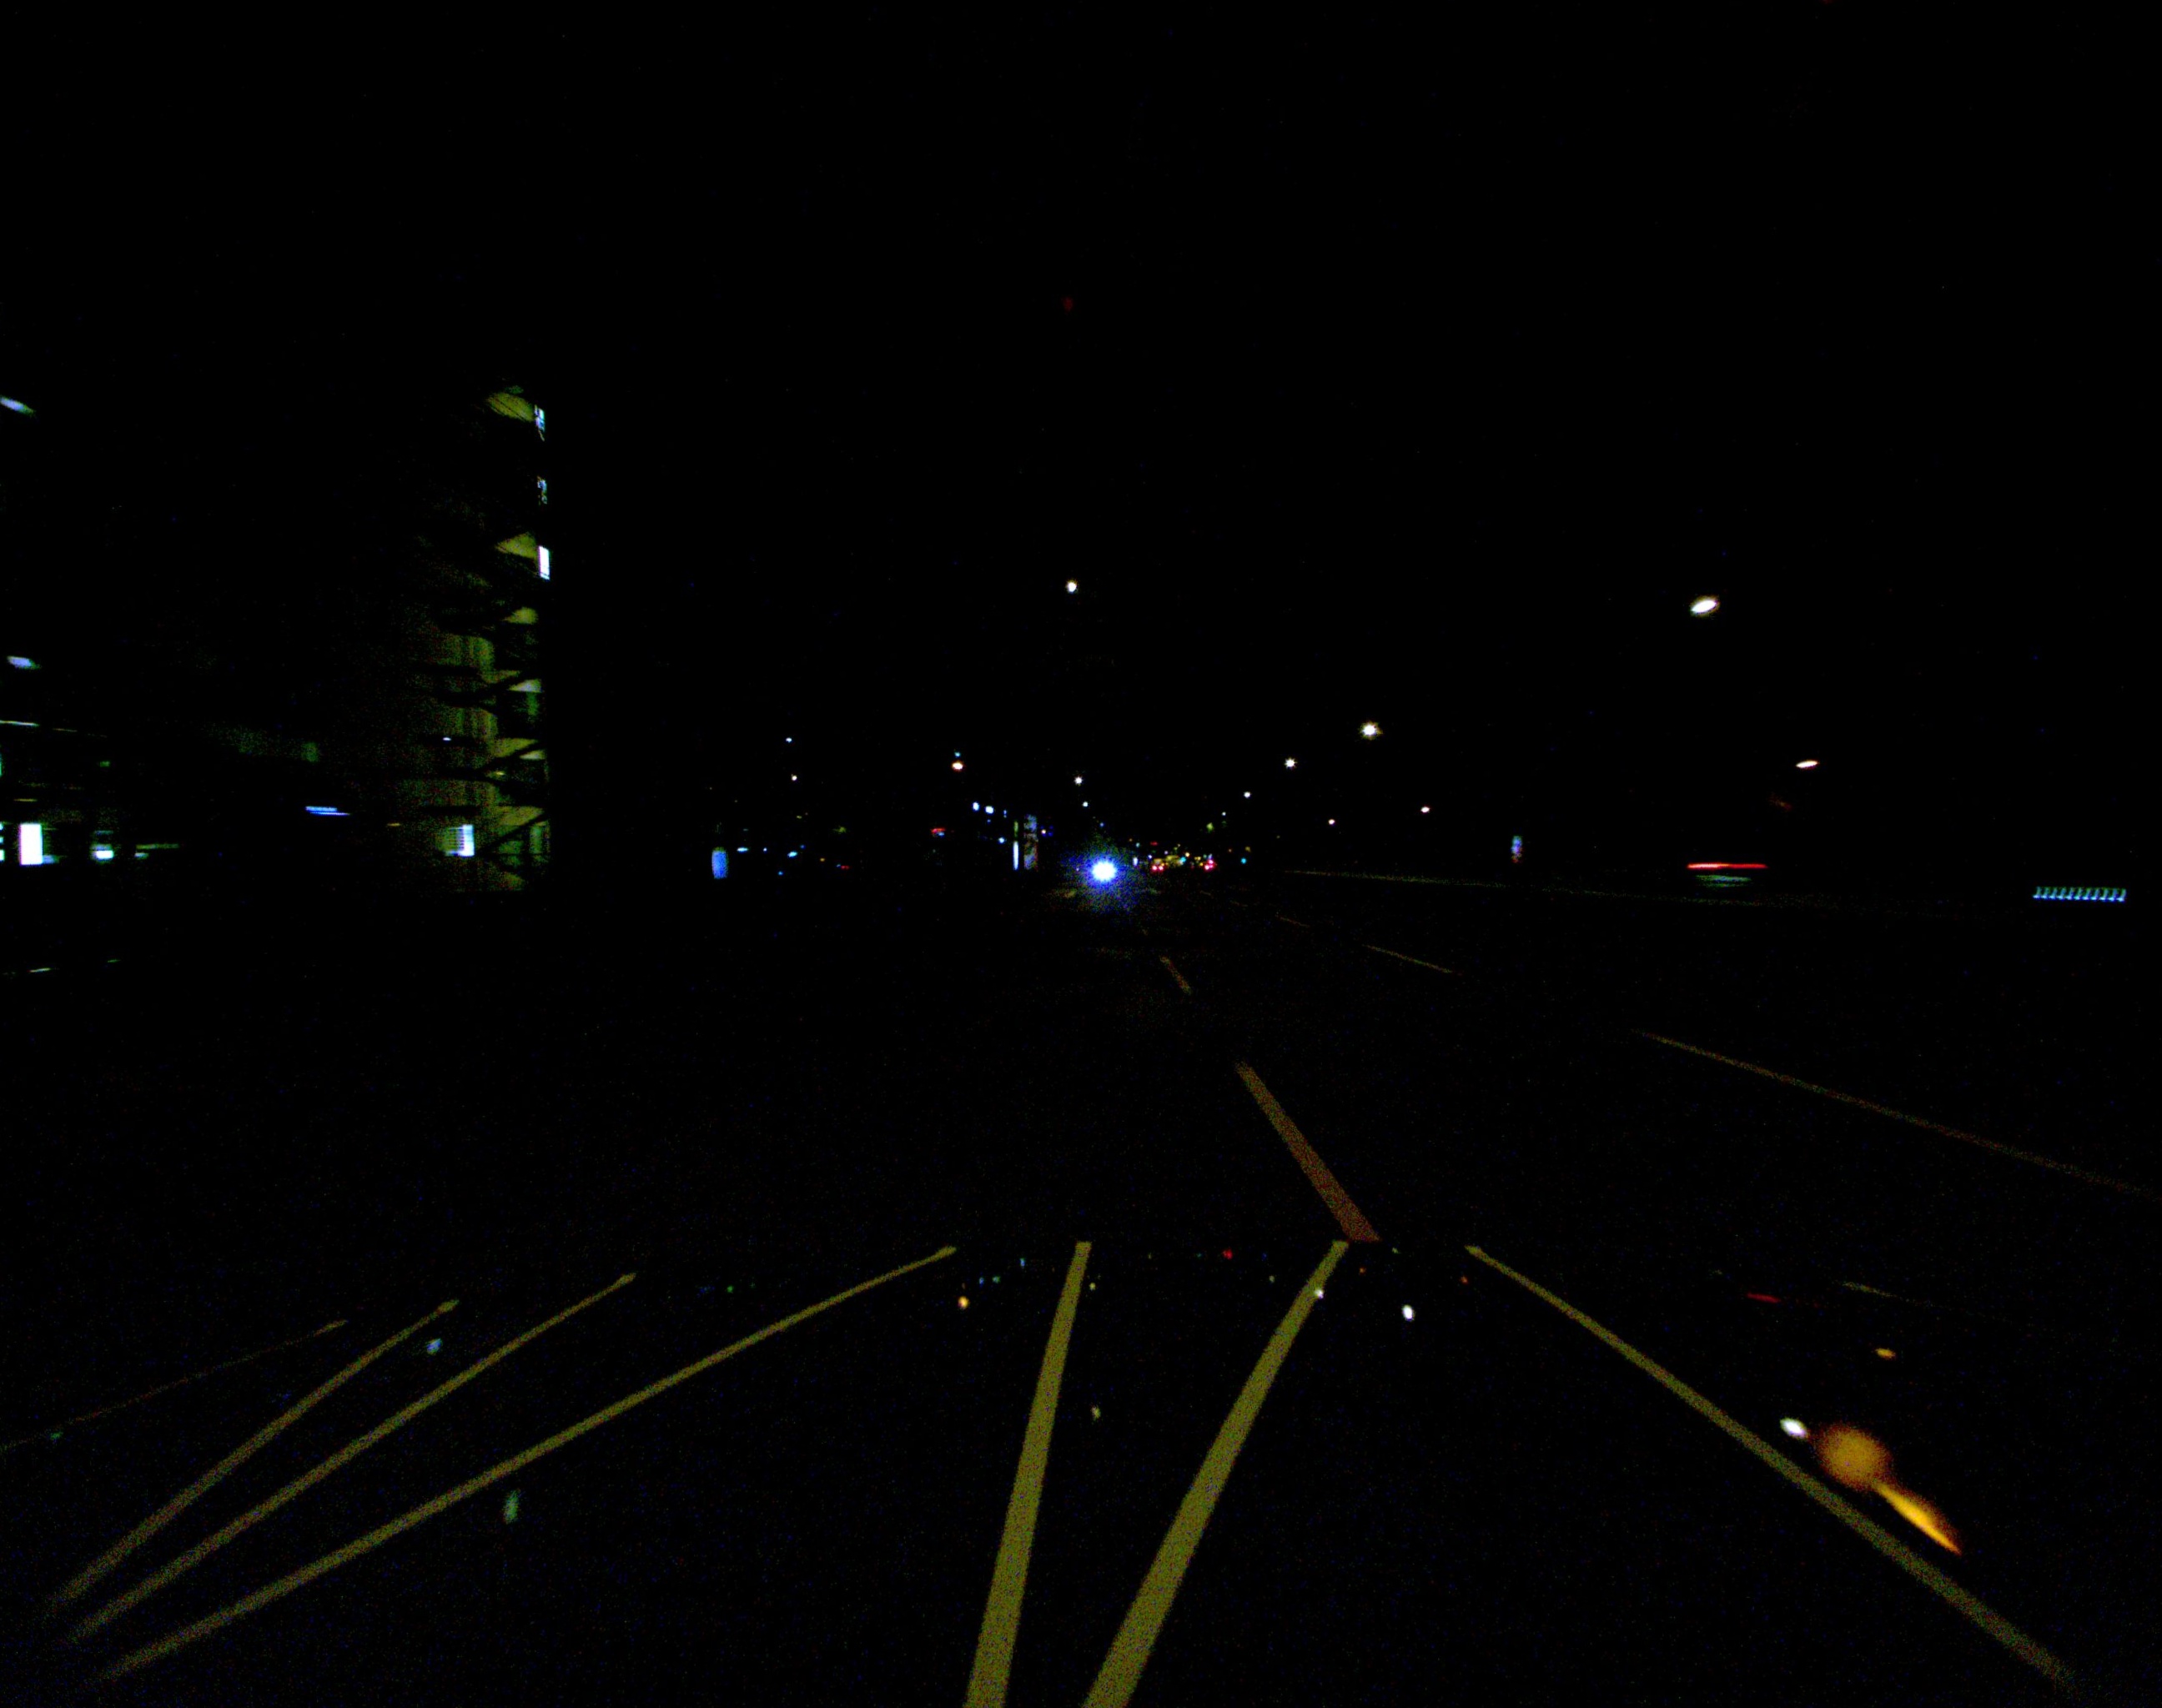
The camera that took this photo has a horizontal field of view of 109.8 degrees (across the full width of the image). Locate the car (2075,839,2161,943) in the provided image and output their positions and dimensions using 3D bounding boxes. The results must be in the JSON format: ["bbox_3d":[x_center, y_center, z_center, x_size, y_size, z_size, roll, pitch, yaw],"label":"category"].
[{"bbox_3d":[16.809,0.550,10.089,1.809,1.490,4.083,-1,1,-2],"label":"car"}]

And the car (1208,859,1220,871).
[{"bbox_3d":[24.573,1.990,140.238,2.059,2.002,4.002,-2,1,9],"label":"car"}]

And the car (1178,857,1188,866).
[{"bbox_3d":[22.076,1.603,164.249,1.794,1.779,4.001,-2,1,5],"label":"car"}]

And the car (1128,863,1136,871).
[{"bbox_3d":[13.262,3.351,196.929,1.794,2.002,4.001,-2,1,6],"label":"car"}]

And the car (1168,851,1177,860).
[{"bbox_3d":[20.915,0.275,173.886,1.794,1.896,4.001,-2,1,5],"label":"car"}]

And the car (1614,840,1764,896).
[{"bbox_3d":[19.661,0.400,24.822,1.730,1.616,3.961,-2,1,1],"label":"car"}]
